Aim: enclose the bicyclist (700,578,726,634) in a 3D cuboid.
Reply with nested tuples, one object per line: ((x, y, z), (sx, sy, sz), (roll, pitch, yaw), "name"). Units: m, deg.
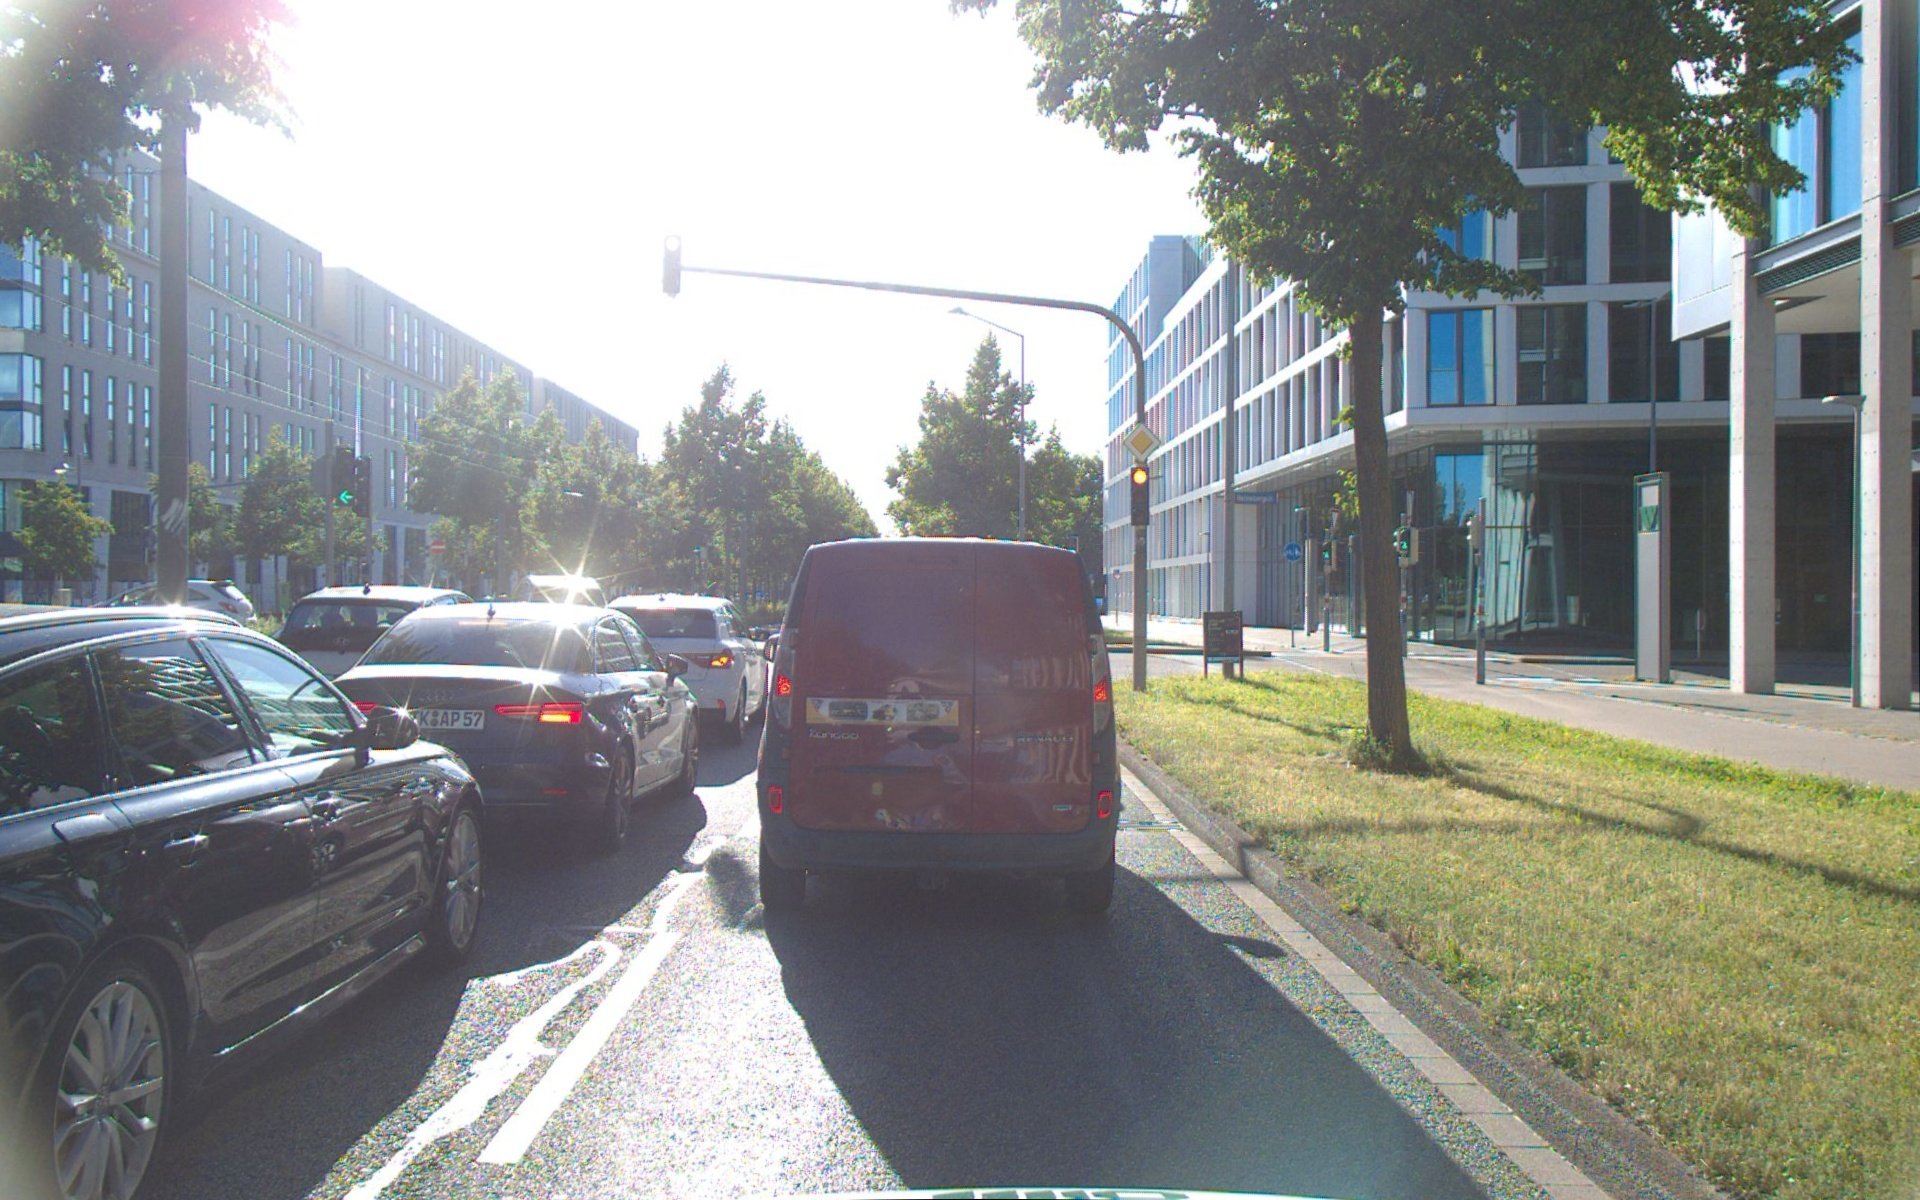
((-9.512, 0.240, 63.705), (0.921, 2.129, 0.817), (0, 0, -6), "bicyclist")

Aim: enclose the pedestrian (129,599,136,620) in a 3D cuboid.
((-44.447, 0.525, 88.861), (0.248, 1.104, 0.260), (0, 0, -1), "pedestrian")

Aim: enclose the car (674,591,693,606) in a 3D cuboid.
((-37.174, -0.198, 222.300), (1.953, 2.049, 3.999), (0, 0, -1), "car")

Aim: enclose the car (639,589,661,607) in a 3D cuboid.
((-37.222, -0.259, 198.659), (1.953, 2.049, 3.999), (0, 0, -1), "car")

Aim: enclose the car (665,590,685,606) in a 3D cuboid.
((-37.362, -0.220, 216.674), (1.953, 2.049, 3.999), (0, 0, -1), "car")

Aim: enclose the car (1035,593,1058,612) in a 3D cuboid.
((8.418, 0.222, 160.743), (1.953, 1.813, 3.999), (0, 0, -1), "car")

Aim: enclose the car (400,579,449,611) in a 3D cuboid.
((-35.284, -0.316, 109.108), (1.953, 2.049, 3.999), (0, 0, -1), "car")

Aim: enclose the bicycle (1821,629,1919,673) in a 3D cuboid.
((24.764, 1.371, 44.451), (2.776, 1.134, 0.821), (0, 0, 13), "bicycle")

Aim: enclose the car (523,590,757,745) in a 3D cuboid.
((-3.244, 0.623, 17.506), (1.767, 1.451, 3.900), (0, 0, -1), "car")

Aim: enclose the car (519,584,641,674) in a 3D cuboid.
((-6.887, 0.471, 30.367), (1.765, 1.473, 4.560), (1, 1, -8), "car")

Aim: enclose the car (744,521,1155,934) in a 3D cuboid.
((-0.076, 0.554, 9.301), (1.804, 1.812, 3.999), (0, 0, -1), "car")

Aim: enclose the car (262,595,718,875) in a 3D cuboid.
((-2.782, 0.705, 10.851), (1.804, 1.451, 4.338), (0, 0, -1), "car")

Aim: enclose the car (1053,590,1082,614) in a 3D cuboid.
((8.326, 0.137, 128.060), (1.953, 1.813, 3.999), (0, 0, -1), "car")

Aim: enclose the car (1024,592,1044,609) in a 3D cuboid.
((8.062, 0.052, 179.938), (1.953, 1.813, 3.999), (0, 0, -1), "car")

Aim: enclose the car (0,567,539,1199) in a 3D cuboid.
((-2.769, 0.682, 5.073), (1.836, 1.510, 4.965), (0, 0, -2), "car")

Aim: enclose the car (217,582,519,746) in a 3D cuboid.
((-5.960, 0.564, 17.254), (1.763, 1.473, 4.565), (0, 0, -4), "car")

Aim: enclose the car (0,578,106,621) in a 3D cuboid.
((-33.194, -0.031, 60.651), (1.729, 1.546, 3.999), (0, 0, -1), "car")

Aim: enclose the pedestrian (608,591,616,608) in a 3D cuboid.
((-42.611, -0.063, 202.494), (0.789, 2.049, 0.871), (0, 0, -1), "pedestrian")

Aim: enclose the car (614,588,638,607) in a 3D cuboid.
((-36.724, -0.280, 181.852), (1.953, 2.049, 3.999), (0, 0, -1), "car")

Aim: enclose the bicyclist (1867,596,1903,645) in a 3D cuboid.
((24.839, 0.551, 44.427), (0.666, 1.297, 0.821), (0, 0, 14), "bicyclist")

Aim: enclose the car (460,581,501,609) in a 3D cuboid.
((-35.835, -0.387, 123.638), (1.953, 2.049, 3.999), (0, 0, -1), "car")

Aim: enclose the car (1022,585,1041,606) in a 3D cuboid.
((8.574, -0.532, 198.464), (1.953, 2.540, 4.986), (0, 0, -1), "car")

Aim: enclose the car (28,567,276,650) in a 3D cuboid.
((-17.696, 0.173, 36.359), (4.461, 1.508, 1.805), (4, 0, 0), "car")
